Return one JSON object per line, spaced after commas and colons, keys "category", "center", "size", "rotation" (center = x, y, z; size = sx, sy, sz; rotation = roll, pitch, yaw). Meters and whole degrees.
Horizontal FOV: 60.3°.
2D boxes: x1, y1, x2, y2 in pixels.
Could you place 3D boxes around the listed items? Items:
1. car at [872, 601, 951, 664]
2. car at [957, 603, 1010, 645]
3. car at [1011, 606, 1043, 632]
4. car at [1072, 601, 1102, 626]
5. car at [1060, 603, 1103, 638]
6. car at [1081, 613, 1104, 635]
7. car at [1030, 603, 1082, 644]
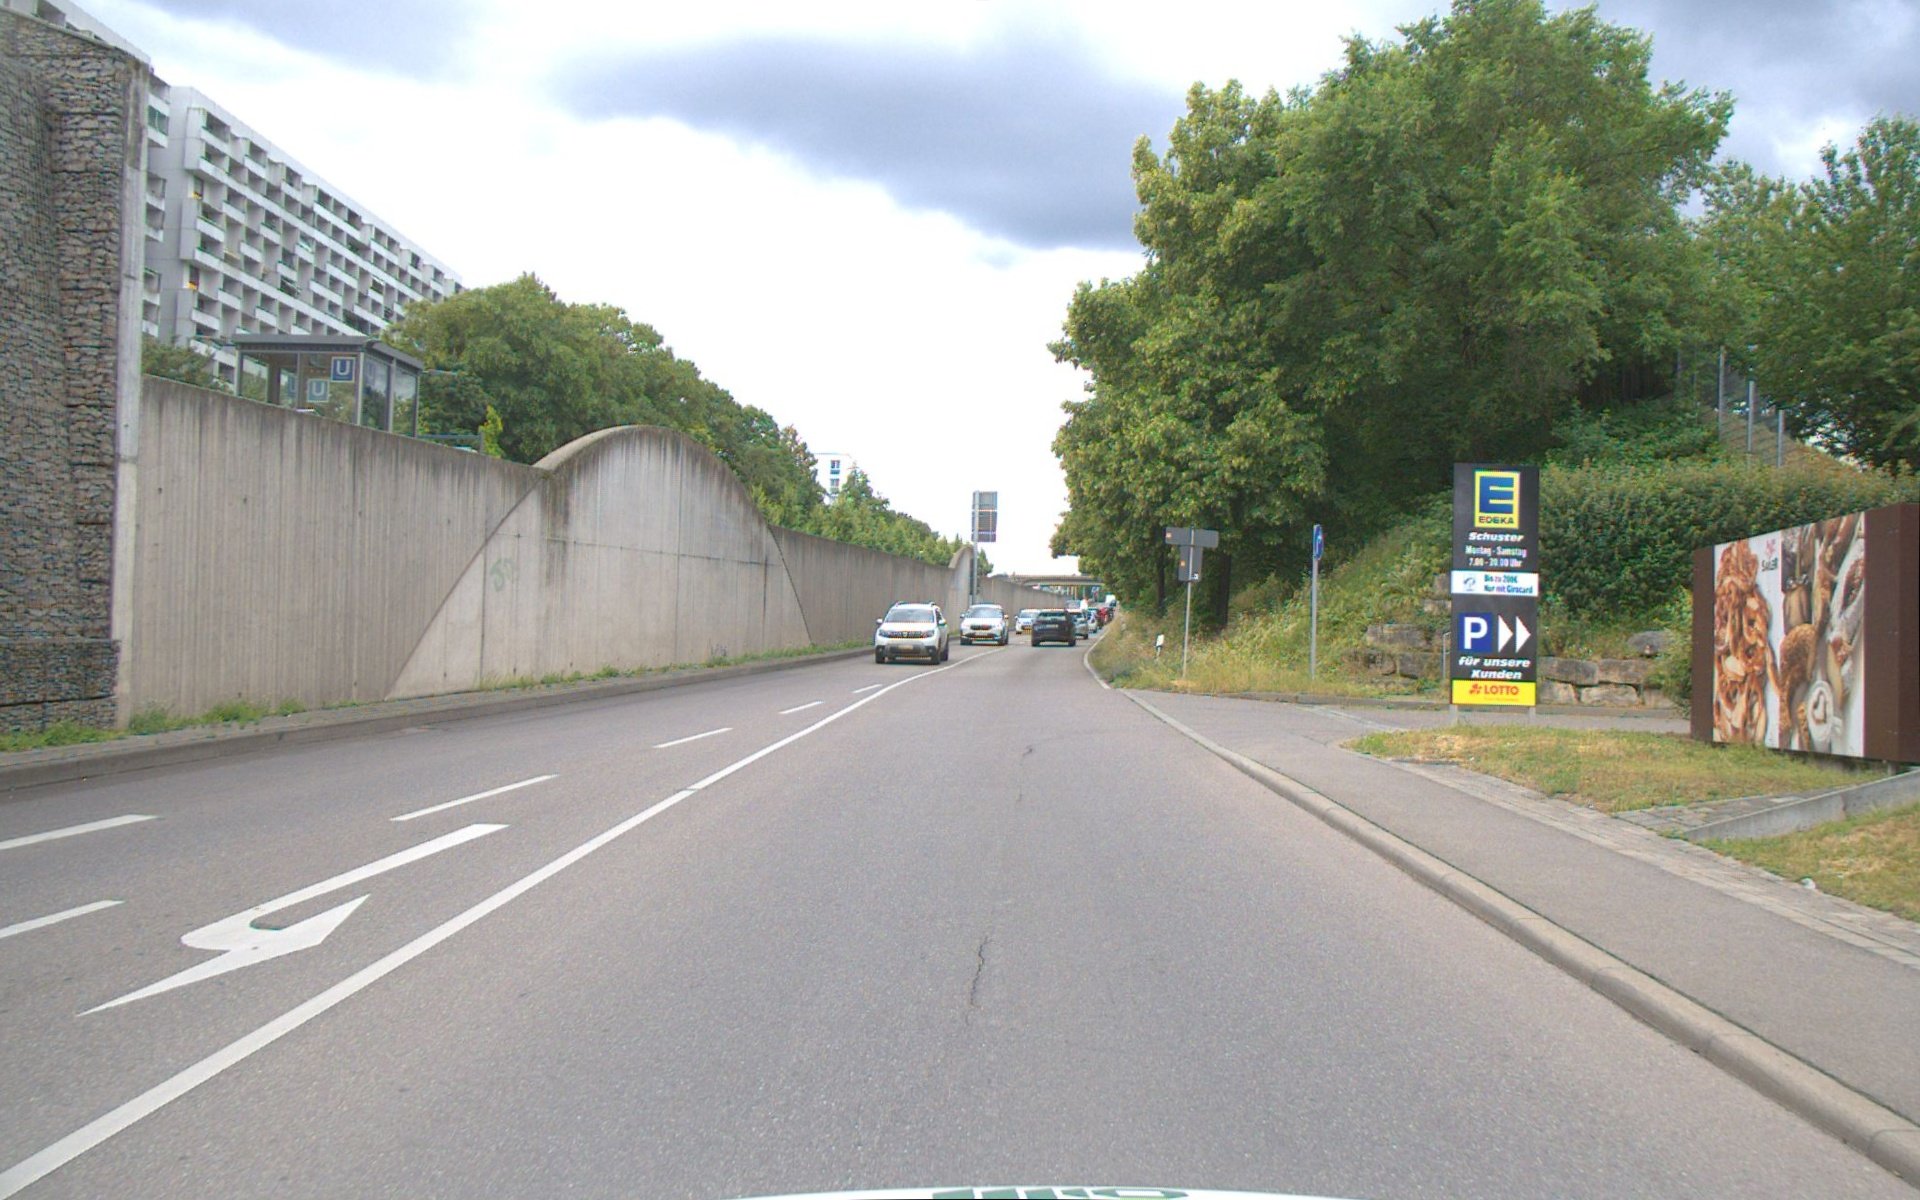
{"category": "car", "center": [-1.321, 0.881, 46.574], "size": [1.823, 1.660, 4.210], "rotation": [1, 0, 3]}
{"category": "car", "center": [1.011, 0.963, 69.021], "size": [1.850, 1.660, 4.428], "rotation": [1, 0, 5]}
{"category": "car", "center": [4.117, 1.132, 101.602], "size": [1.875, 1.522, 4.210], "rotation": [1, 0, 3]}
{"category": "car", "center": [8.416, 0.884, 109.701], "size": [1.828, 1.516, 4.259], "rotation": [3, -1, 4]}
{"category": "car", "center": [6.180, 1.060, 83.938], "size": [1.717, 1.550, 4.039], "rotation": [3, -2, 10]}
{"category": "car", "center": [10.502, 1.953, 131.155], "size": [1.717, 1.560, 4.256], "rotation": [4, -2, 5]}
{"category": "car", "center": [3.981, 0.998, 67.817], "size": [1.717, 1.550, 4.039], "rotation": [1, -2, 9]}
